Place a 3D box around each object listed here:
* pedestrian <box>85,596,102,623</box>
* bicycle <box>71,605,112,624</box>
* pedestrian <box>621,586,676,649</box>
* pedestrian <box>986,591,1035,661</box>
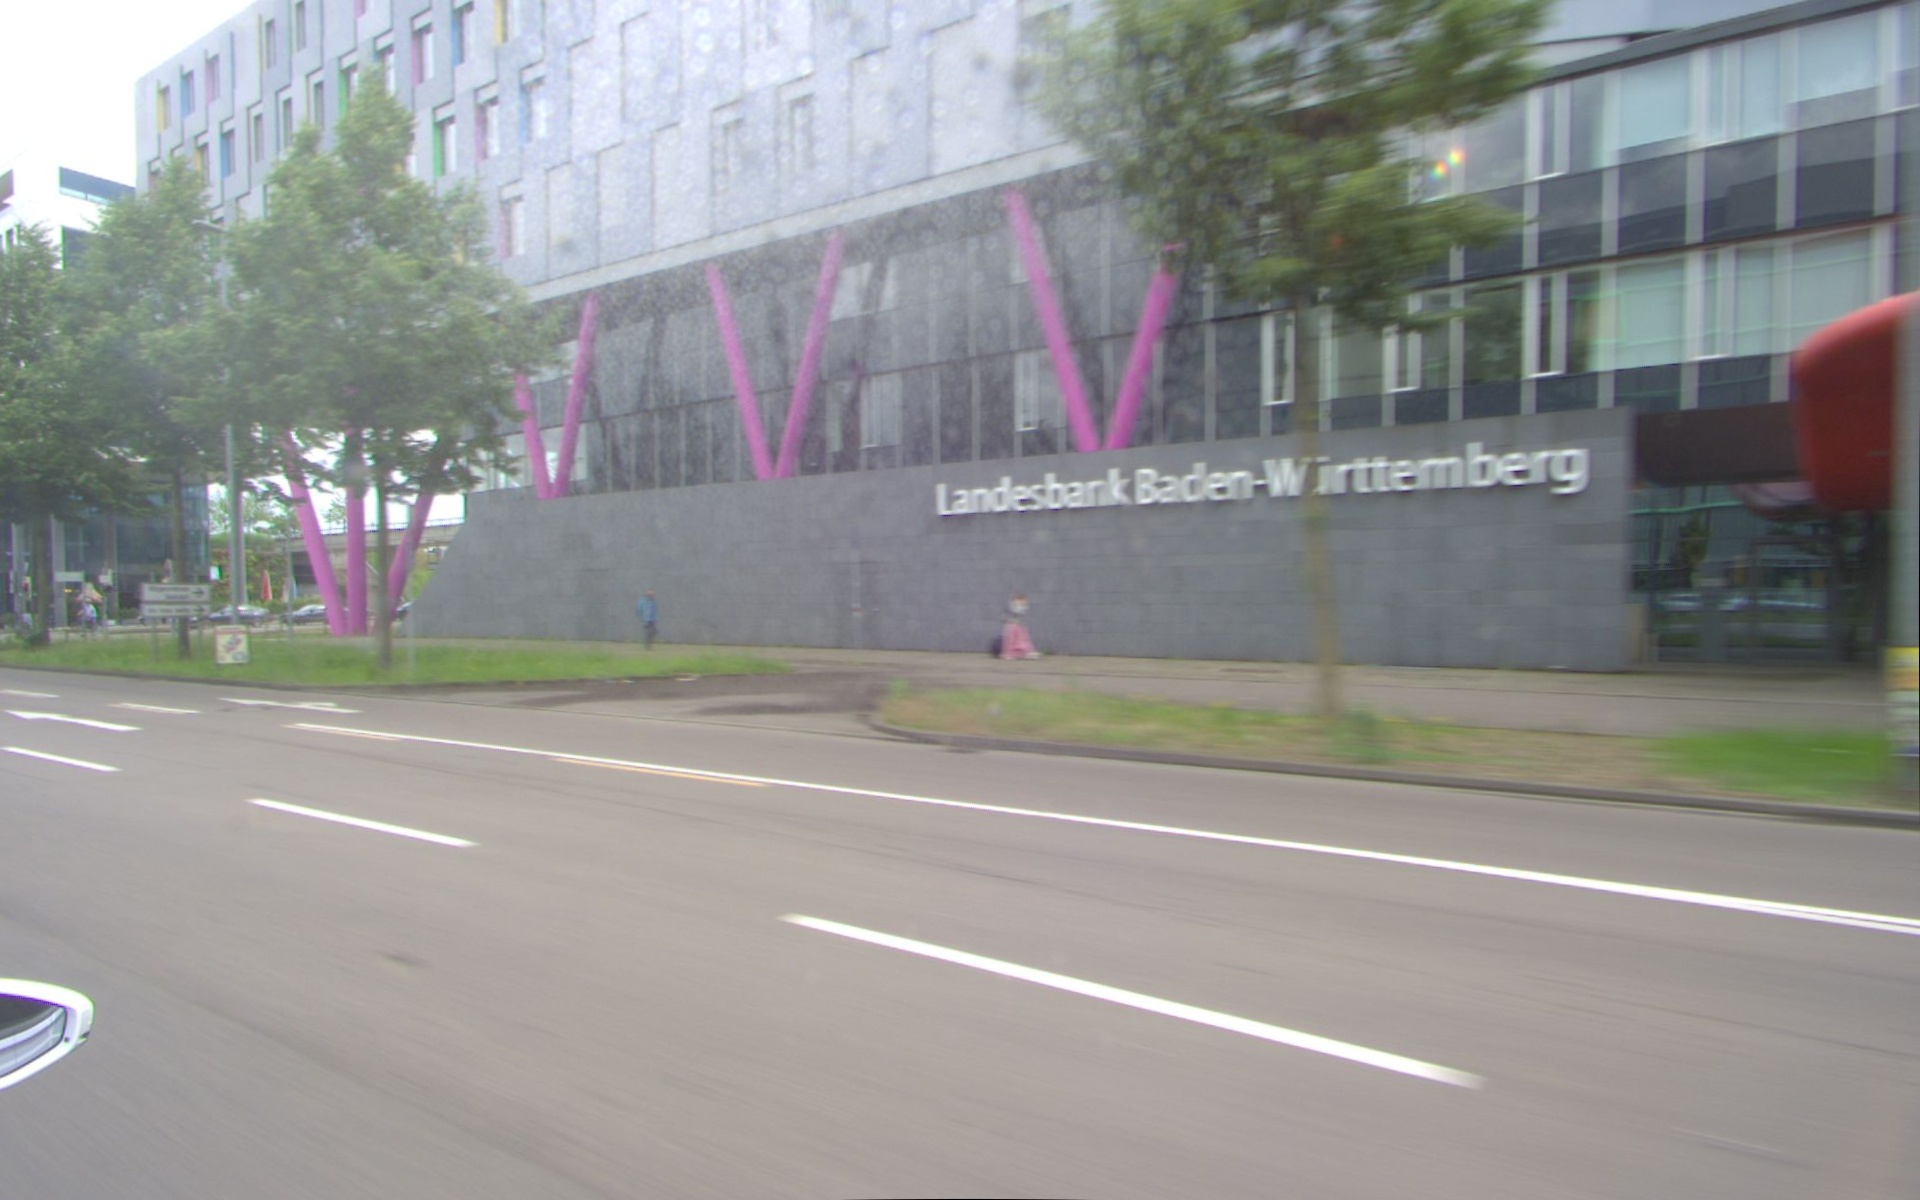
[{"bbox_3d":[-52.813,0.596,61.016,0.610,1.626,0.613,1,2,34],"label":"pedestrian"},{"bbox_3d":[-52.849,0.862,60.968,0.609,1.100,1.787,1,1,34],"label":"bicycle"},{"bbox_3d":[-9.126,0.493,29.352,1.120,1.794,1.049,1,2,33],"label":"pedestrian"},{"bbox_3d":[1.197,0.599,23.818,0.901,1.604,0.782,2,2,33],"label":"pedestrian"}]
